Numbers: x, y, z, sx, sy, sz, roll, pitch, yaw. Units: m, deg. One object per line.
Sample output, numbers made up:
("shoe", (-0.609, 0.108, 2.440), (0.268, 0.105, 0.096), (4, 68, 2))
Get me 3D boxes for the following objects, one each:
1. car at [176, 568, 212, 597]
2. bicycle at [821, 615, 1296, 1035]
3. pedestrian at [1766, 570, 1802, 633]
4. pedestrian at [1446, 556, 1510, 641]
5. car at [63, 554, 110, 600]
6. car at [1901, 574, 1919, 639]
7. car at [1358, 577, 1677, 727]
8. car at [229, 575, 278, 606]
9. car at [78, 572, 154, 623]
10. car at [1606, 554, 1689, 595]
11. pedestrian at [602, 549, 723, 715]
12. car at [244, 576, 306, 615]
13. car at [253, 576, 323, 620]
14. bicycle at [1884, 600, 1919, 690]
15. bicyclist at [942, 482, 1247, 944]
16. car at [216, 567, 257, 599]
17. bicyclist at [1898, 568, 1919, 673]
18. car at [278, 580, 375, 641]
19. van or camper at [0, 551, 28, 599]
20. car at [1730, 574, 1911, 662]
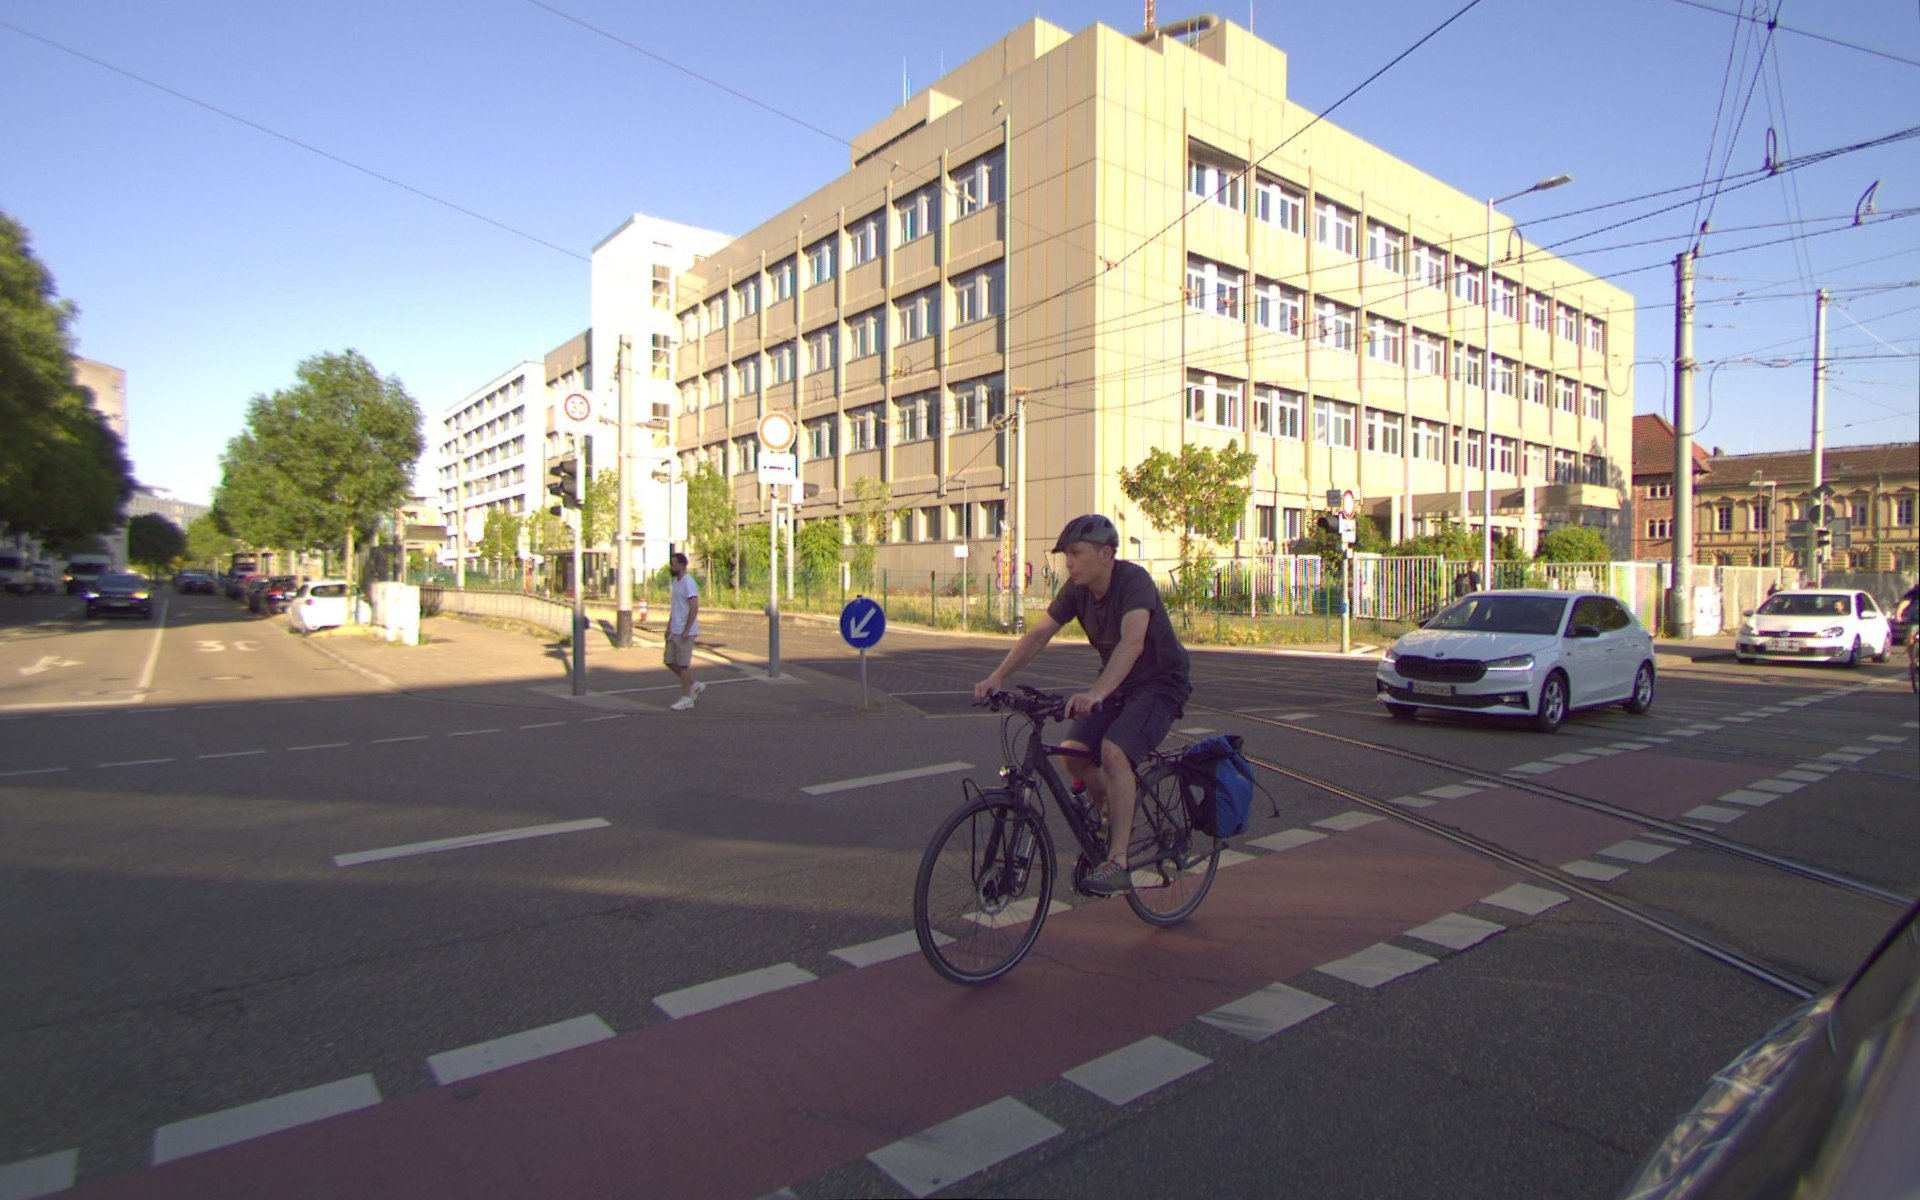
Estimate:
("car", (-53.914, -1.207, 71.245), (1.963, 1.934, 3.997), (-1, 0, -37))
("bicycle", (0.457, 0.741, 4.075), (1.928, 1.297, 0.652), (-1, 1, -33))
("pedestrian", (23.690, 0.038, 29.101), (0.755, 1.784, 0.593), (0, 1, -33))
("pedestrian", (11.393, -0.046, 22.283), (1.064, 1.835, 0.735), (0, 1, 8))
("car", (-54.434, -1.405, 63.118), (2.018, 2.708, 5.013), (-1, 0, -39))
("car", (26.621, 0.123, 26.807), (4.223, 1.664, 1.792), (-1, -1, -38))
("car", (6.374, 0.467, 11.416), (4.000, 1.407, 1.705), (-1, 0, -38))
("car", (-38.930, -0.545, 55.722), (1.964, 1.621, 3.997), (-1, 1, -38))
("car", (-30.226, -0.108, 36.355), (1.951, 1.717, 3.997), (1, 0, -38))
("car", (33.205, -1.221, 48.819), (4.698, 1.865, 1.998), (-1, 1, -38))
("pedestrian", (-3.501, 0.344, 11.922), (1.192, 1.846, 0.780), (-1, 1, -33))
("car", (-30.010, -0.240, 44.320), (1.964, 1.621, 3.997), (-1, 1, -38))
("car", (-26.212, -0.119, 39.404), (1.964, 1.621, 3.997), (-1, 1, -38))
("bicycle", (13.595, 0.593, 14.032), (2.264, 1.158, 0.764), (-1, 1, -37))
("bicyclist", (0.551, 0.387, 4.123), (1.068, 1.623, 0.652), (-1, 1, -33))
("car", (-46.130, -1.110, 64.488), (1.964, 1.946, 3.997), (-1, 1, -38))
("bicyclist", (13.628, 0.276, 14.059), (0.843, 1.440, 0.728), (-1, 0, -37))
("car", (-18.436, 0.253, 29.394), (1.964, 1.632, 3.997), (-1, 1, -38))
("van or camper", (-51.566, -1.339, 54.301), (1.951, 2.535, 4.398), (-1, 1, -38))
("car", (16.551, 0.302, 19.406), (4.223, 1.521, 1.792), (-1, -1, -38))
